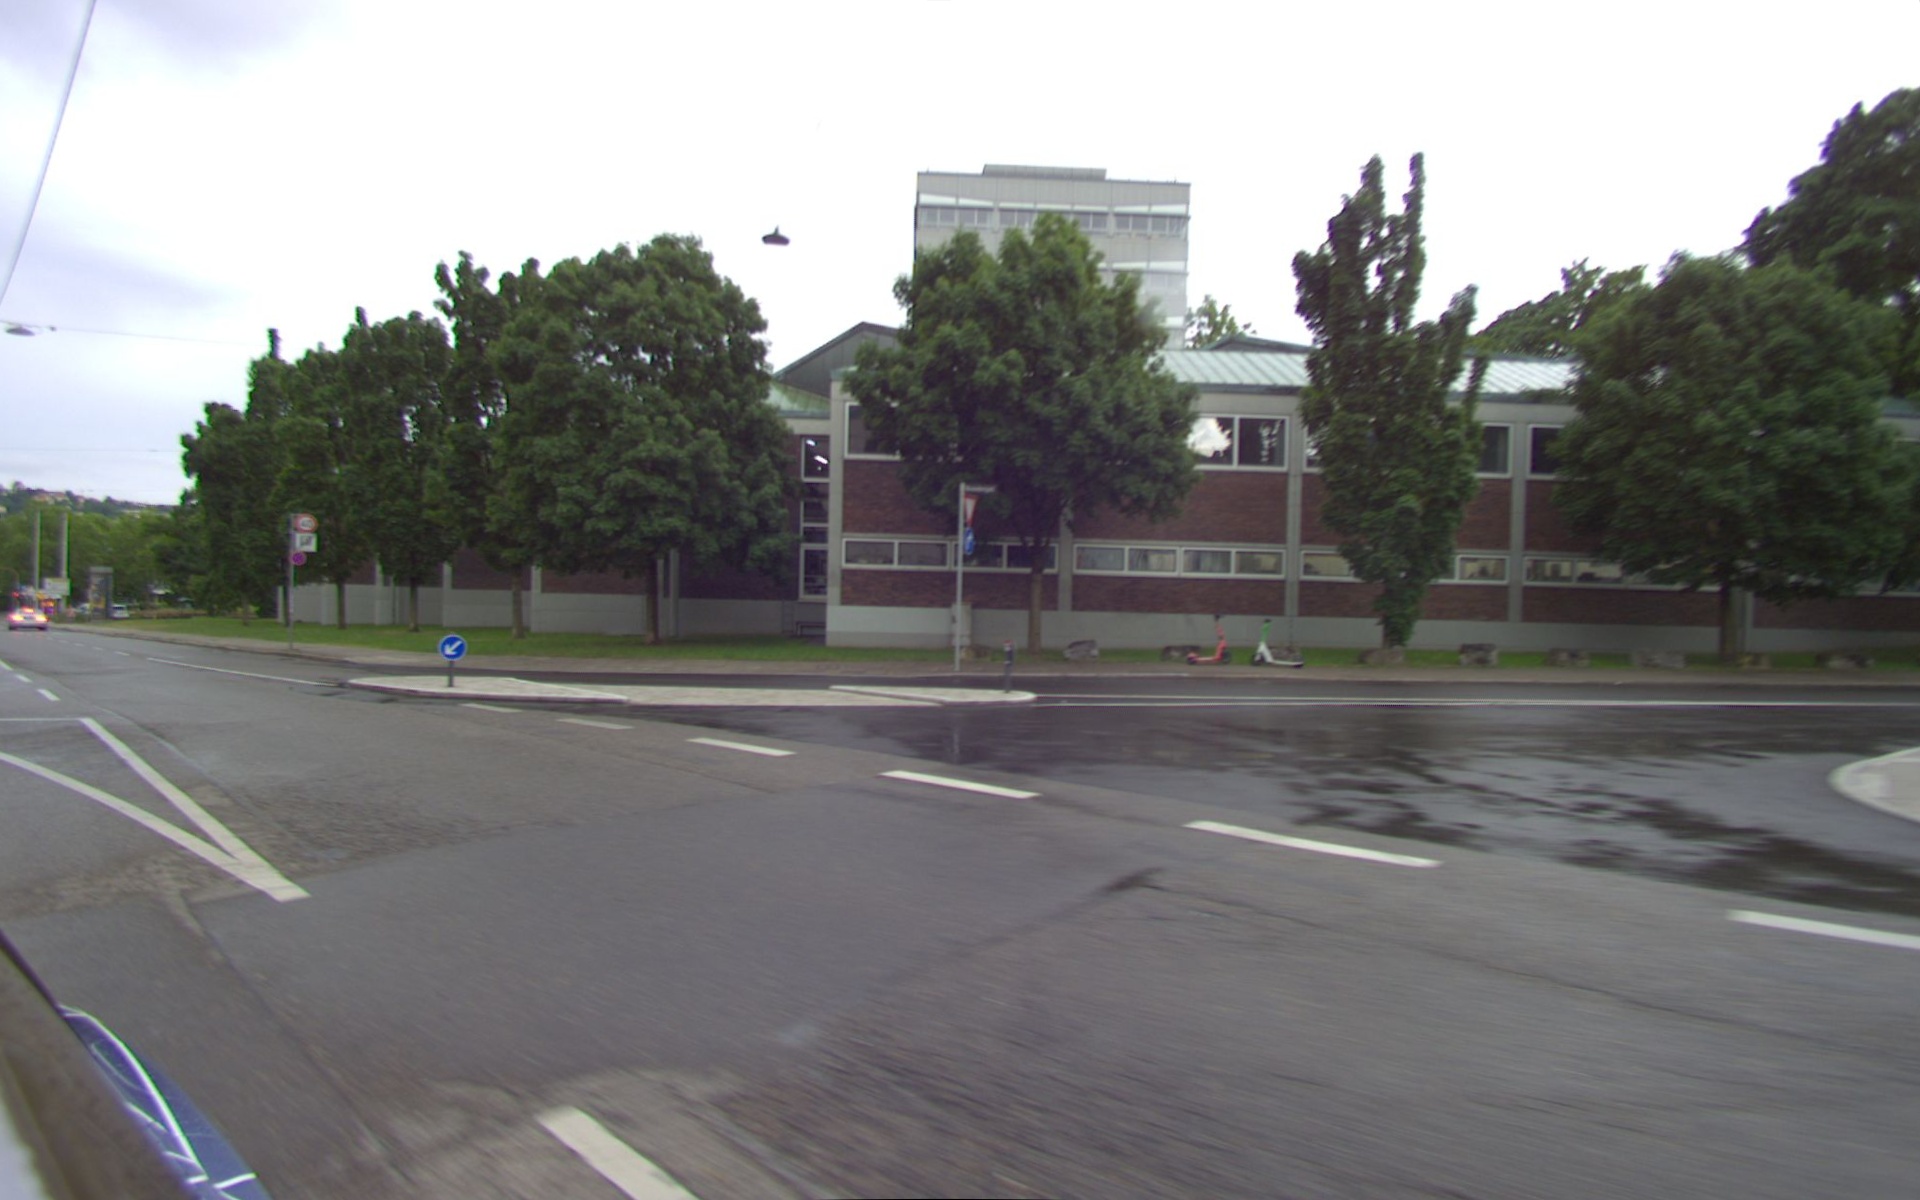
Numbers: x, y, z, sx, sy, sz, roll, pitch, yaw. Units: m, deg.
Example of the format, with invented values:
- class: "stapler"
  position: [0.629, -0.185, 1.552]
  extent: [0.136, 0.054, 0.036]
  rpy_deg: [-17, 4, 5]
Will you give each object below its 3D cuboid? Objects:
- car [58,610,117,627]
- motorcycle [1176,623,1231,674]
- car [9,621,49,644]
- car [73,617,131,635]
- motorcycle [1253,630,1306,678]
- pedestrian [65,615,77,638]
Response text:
- class: "car"
  position: [-95.259, 2.022, 110.531]
  extent: [4.651, 1.768, 2.018]
  rpy_deg: [-1, 0, -5]
- class: "motorcycle"
  position: [5.864, 1.159, 24.356]
  extent: [1.207, 1.194, 0.414]
  rpy_deg: [-1, 0, -9]
- class: "car"
  position: [-64.986, 2.297, 70.591]
  extent: [1.859, 1.502, 5.223]
  rpy_deg: [3, -4, -44]
- class: "car"
  position: [-83.483, 2.490, 98.450]
  extent: [4.476, 1.621, 1.863]
  rpy_deg: [-1, 0, 10]
- class: "motorcycle"
  position: [7.736, 1.305, 24.505]
  extent: [1.151, 1.133, 0.414]
  rpy_deg: [1, 0, -9]
- class: "pedestrian"
  position: [-68.298, 2.024, 77.745]
  extent: [0.661, 1.699, 0.915]
  rpy_deg: [-1, 0, -40]
